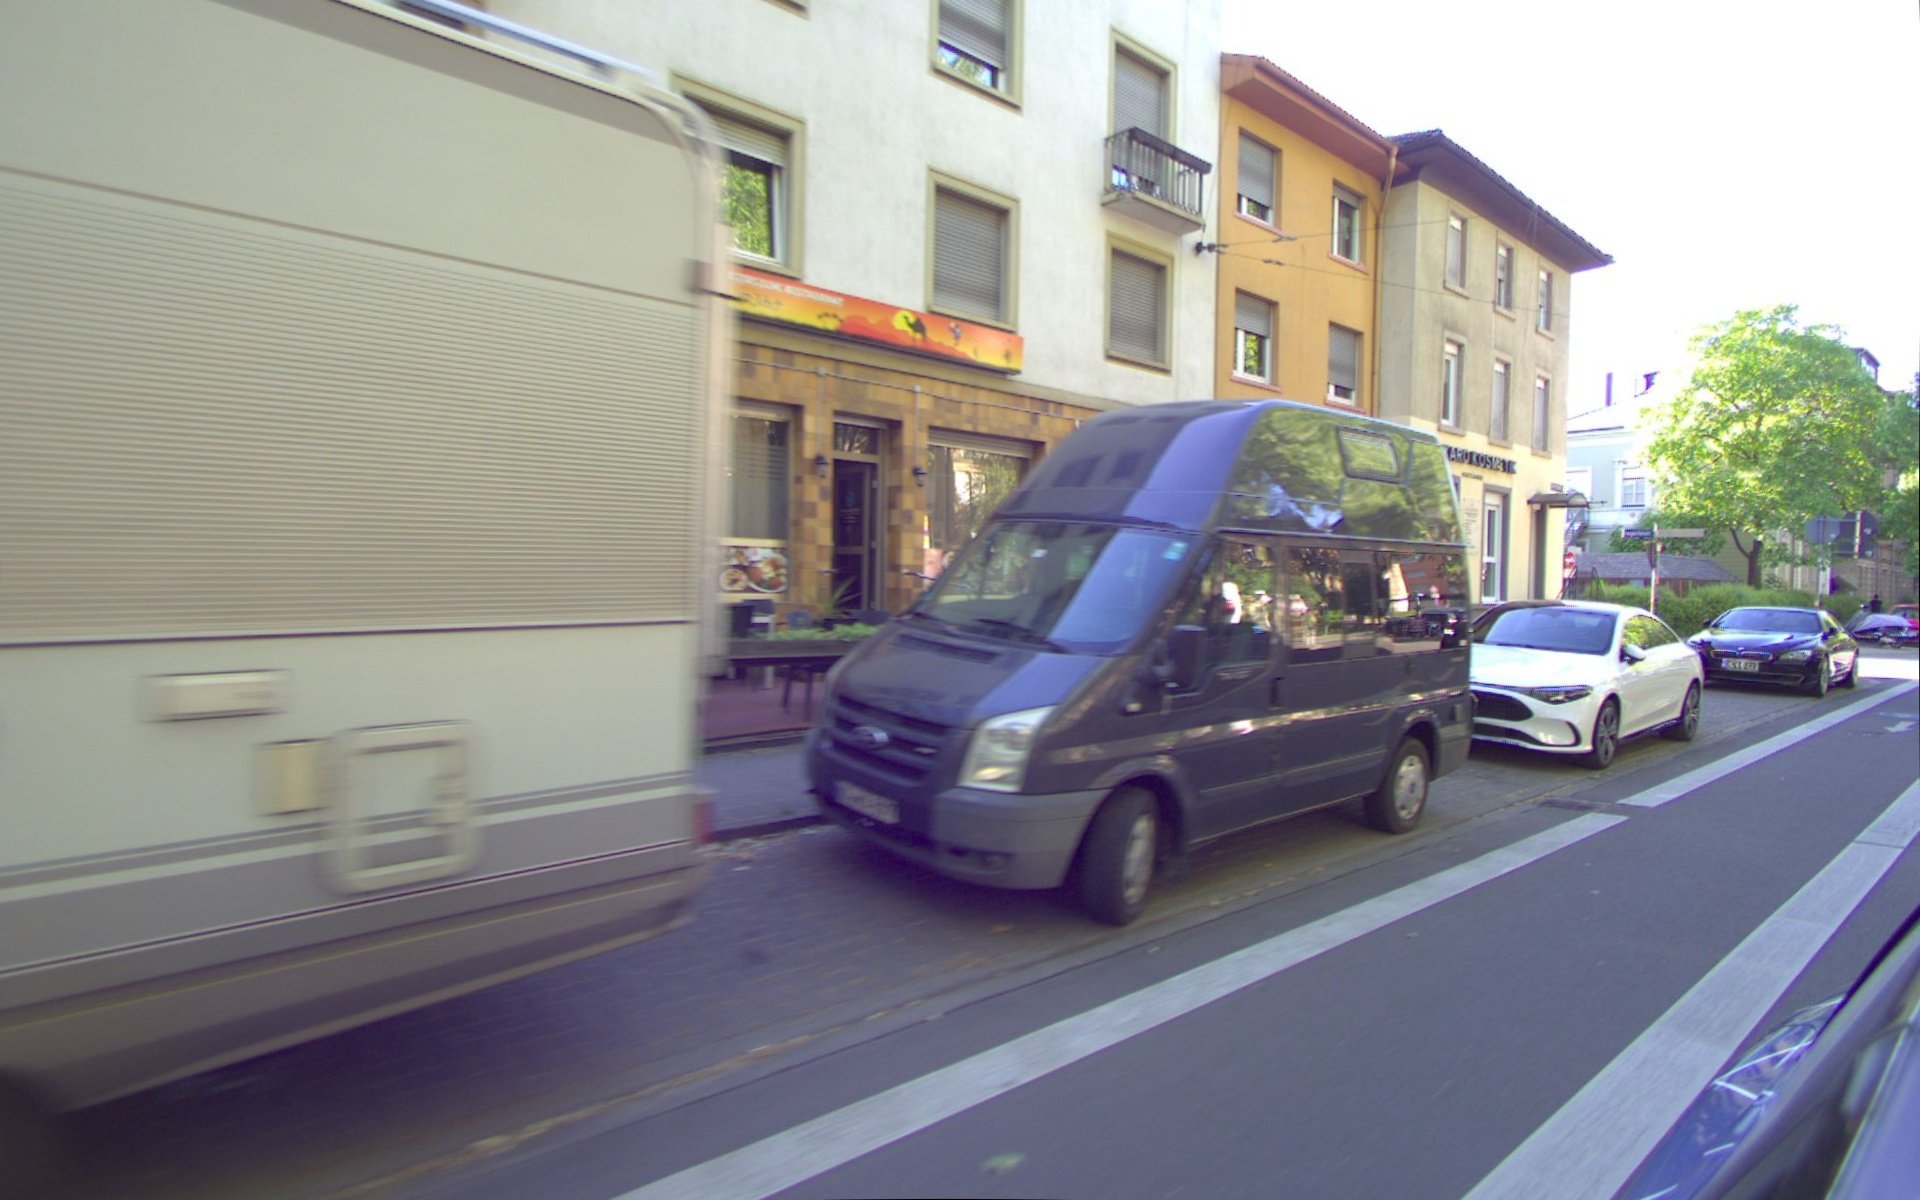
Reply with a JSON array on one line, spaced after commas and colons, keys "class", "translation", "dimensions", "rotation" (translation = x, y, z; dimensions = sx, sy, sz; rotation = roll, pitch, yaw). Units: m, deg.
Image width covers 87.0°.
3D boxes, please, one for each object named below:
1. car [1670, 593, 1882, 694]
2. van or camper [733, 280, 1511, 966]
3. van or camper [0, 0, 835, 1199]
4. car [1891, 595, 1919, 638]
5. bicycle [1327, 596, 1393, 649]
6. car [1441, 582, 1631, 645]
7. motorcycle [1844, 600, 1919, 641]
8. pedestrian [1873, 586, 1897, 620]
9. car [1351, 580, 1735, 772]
[{"class": "car", "translation": [14.028, 0.630, 17.299], "dimensions": [4.657, 1.397, 1.998], "rotation": [0, 3, -41]}, {"class": "van or camper", "translation": [1.309, 0.035, 6.389], "dimensions": [4.892, 2.695, 2.137], "rotation": [0, 3, -41]}, {"class": "van or camper", "translation": [-3.542, -0.228, 2.109], "dimensions": [6.160, 3.101, 2.466], "rotation": [0, 3, -42]}, {"class": "car", "translation": [33.160, 0.565, 34.534], "dimensions": [3.797, 1.397, 1.607], "rotation": [0, 3, -41]}, {"class": "bicycle", "translation": [7.897, 0.420, 19.953], "dimensions": [1.826, 1.010, 0.427], "rotation": [0, 0, -41]}, {"class": "car", "translation": [16.778, 0.346, 29.679], "dimensions": [1.866, 1.660, 4.462], "rotation": [3, -1, -36]}, {"class": "motorcycle", "translation": [30.085, 0.663, 32.729], "dimensions": [0.812, 1.172, 2.074], "rotation": [0, 4, -36]}, {"class": "pedestrian", "translation": [47.173, 0.154, 51.613], "dimensions": [0.869, 1.699, 0.813], "rotation": [0, 0, -41]}, {"class": "car", "translation": [6.274, 0.611, 10.662], "dimensions": [4.656, 1.512, 1.998], "rotation": [0, 3, -40]}]
